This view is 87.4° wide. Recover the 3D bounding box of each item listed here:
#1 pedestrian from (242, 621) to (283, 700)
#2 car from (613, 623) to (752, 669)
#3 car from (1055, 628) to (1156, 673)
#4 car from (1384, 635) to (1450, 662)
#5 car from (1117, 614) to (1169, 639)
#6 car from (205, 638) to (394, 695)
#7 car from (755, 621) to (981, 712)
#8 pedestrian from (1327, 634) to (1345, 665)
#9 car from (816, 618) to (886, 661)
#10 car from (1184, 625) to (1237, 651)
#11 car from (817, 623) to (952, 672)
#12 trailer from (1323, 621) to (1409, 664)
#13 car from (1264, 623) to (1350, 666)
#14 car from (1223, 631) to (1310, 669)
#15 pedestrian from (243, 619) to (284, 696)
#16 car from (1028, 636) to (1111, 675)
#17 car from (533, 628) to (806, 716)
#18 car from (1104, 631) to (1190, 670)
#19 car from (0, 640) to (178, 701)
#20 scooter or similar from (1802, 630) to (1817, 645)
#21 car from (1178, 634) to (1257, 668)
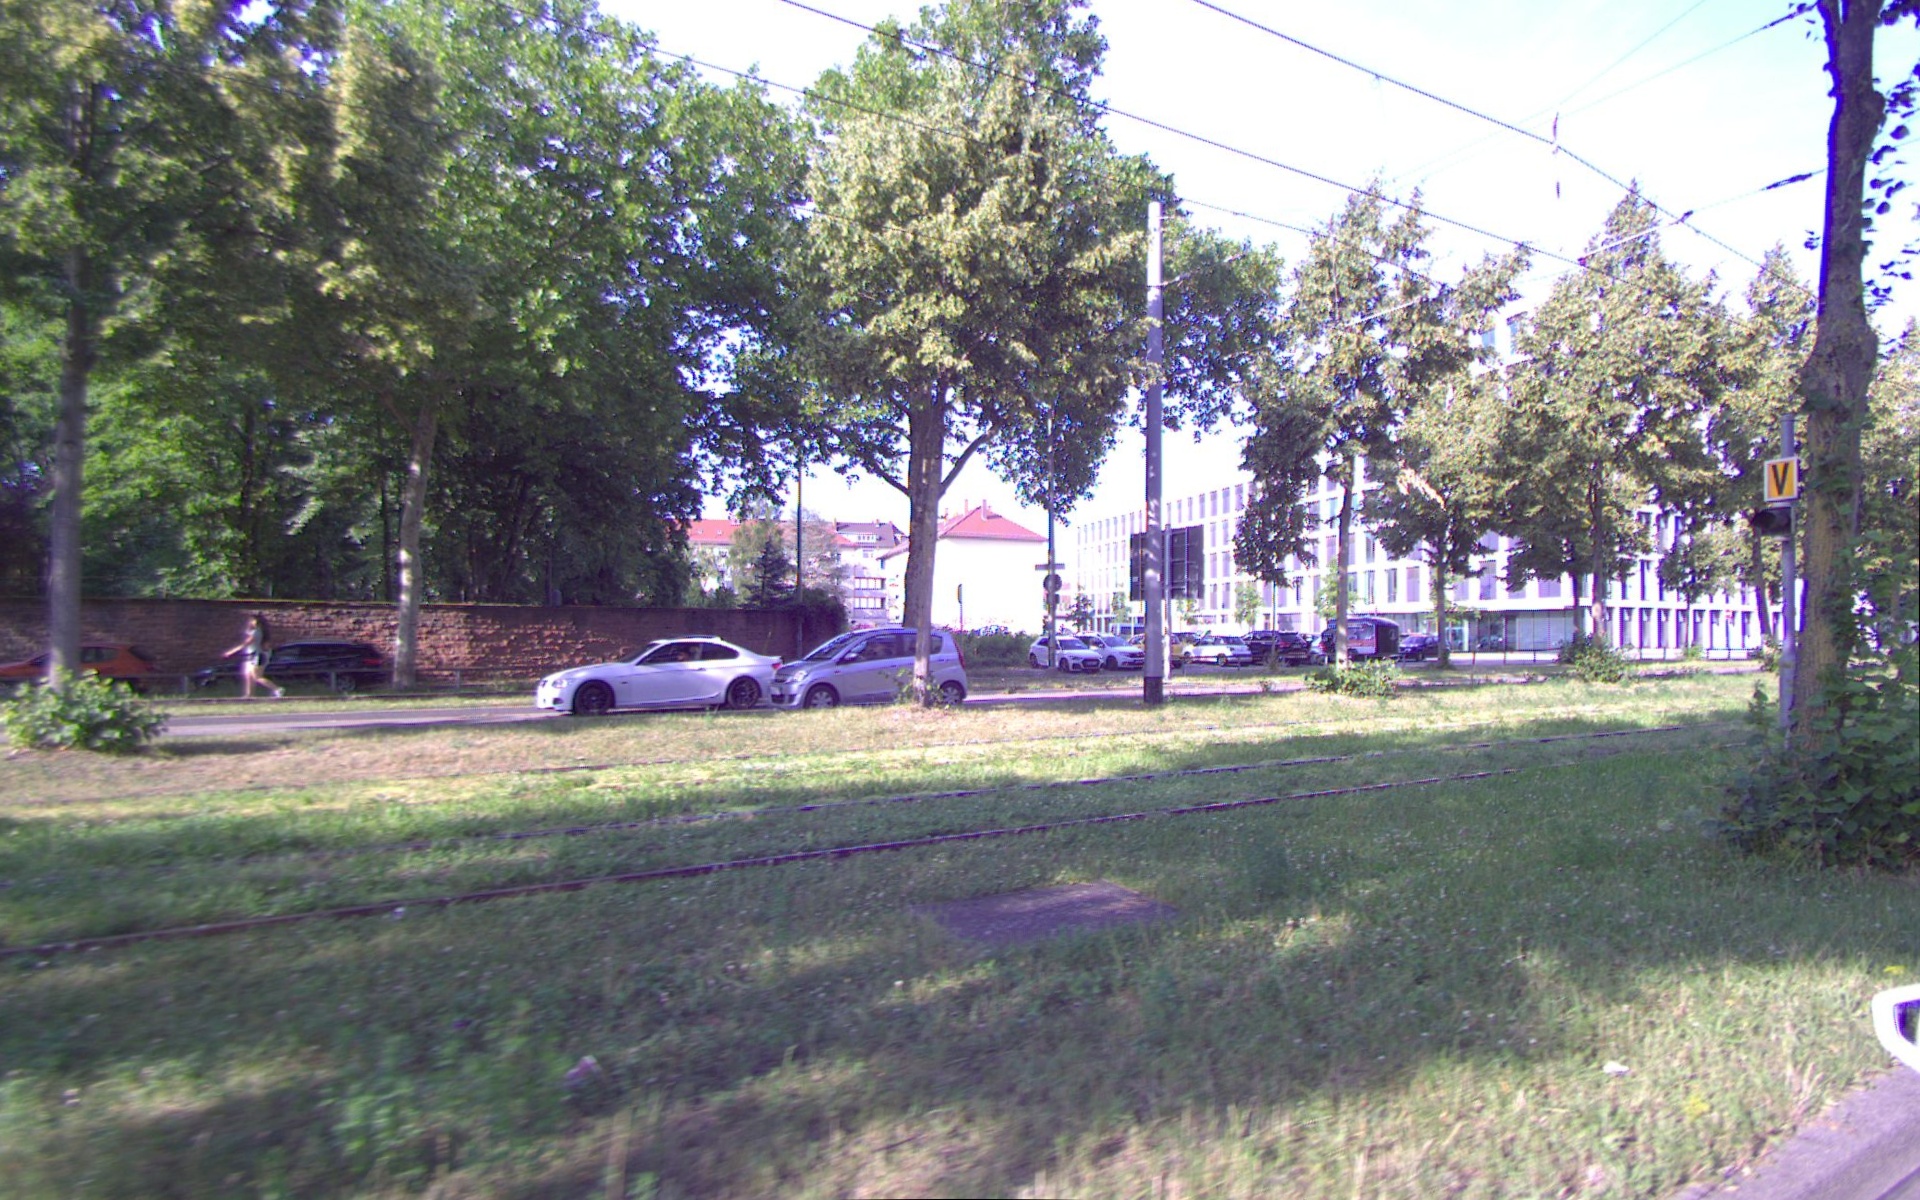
[{"bbox_3d":[-13.432,1.156,19.358,0.595,1.495,0.384,2,0,-31],"label":"pedestrian"},{"bbox_3d":[-9.634,1.599,35.042,4.321,1.461,1.773,2,0,-37],"label":"car"},{"bbox_3d":[6.422,2.228,45.048,1.862,1.758,5.040,2,0,-28],"label":"car"},{"bbox_3d":[25.397,2.691,55.814,3.723,1.412,1.669,2,0,-34],"label":"car"},{"bbox_3d":[16.955,2.441,93.072,4.424,2.187,1.847,2,0,-19],"label":"car"},{"bbox_3d":[-18.700,1.876,28.691,4.308,1.461,1.779,2,0,-29],"label":"car"},{"bbox_3d":[-1.592,1.136,17.692,3.654,1.411,1.575,2,0,-31],"label":"car"},{"bbox_3d":[18.464,2.432,49.325,0.562,1.500,0.519,2,0,-31],"label":"pedestrian"},{"bbox_3d":[-4.373,1.543,39.721,1.719,1.506,3.849,2,0,-22],"label":"car"},{"bbox_3d":[25.492,3.863,102.320,4.945,2.566,1.806,2,0,-14],"label":"car"},{"bbox_3d":[-2.411,1.520,32.360,3.990,1.454,1.673,2,0,-32],"label":"car"},{"bbox_3d":[21.927,2.271,54.409,1.733,2.081,4.354,2,0,-23],"label":"trailer"},{"bbox_3d":[17.490,2.211,50.804,1.737,1.973,3.974,2,0,-29],"label":"car"},{"bbox_3d":[14.959,2.413,49.195,1.737,1.665,3.974,2,0,-29],"label":"car"},{"bbox_3d":[-13.780,1.131,19.878,0.595,1.495,0.384,2,0,-31],"label":"pedestrian"},{"bbox_3d":[4.637,2.348,42.884,1.787,1.447,3.632,2,0,-28],"label":"car"},{"bbox_3d":[-5.465,1.347,19.148,4.758,1.495,1.674,2,-4,-31],"label":"car"},{"bbox_3d":[8.580,2.289,46.351,1.833,1.581,3.971,2,0,-28],"label":"car"},{"bbox_3d":[-23.320,1.831,26.567,3.864,1.461,1.711,2,0,-29],"label":"car"},{"bbox_3d":[72.074,3.146,85.213,1.278,1.242,0.335,2,0,-18],"label":"scooter or similar"},{"bbox_3d":[12.424,2.448,48.622,1.705,1.444,3.551,2,0,-29],"label":"car"}]
